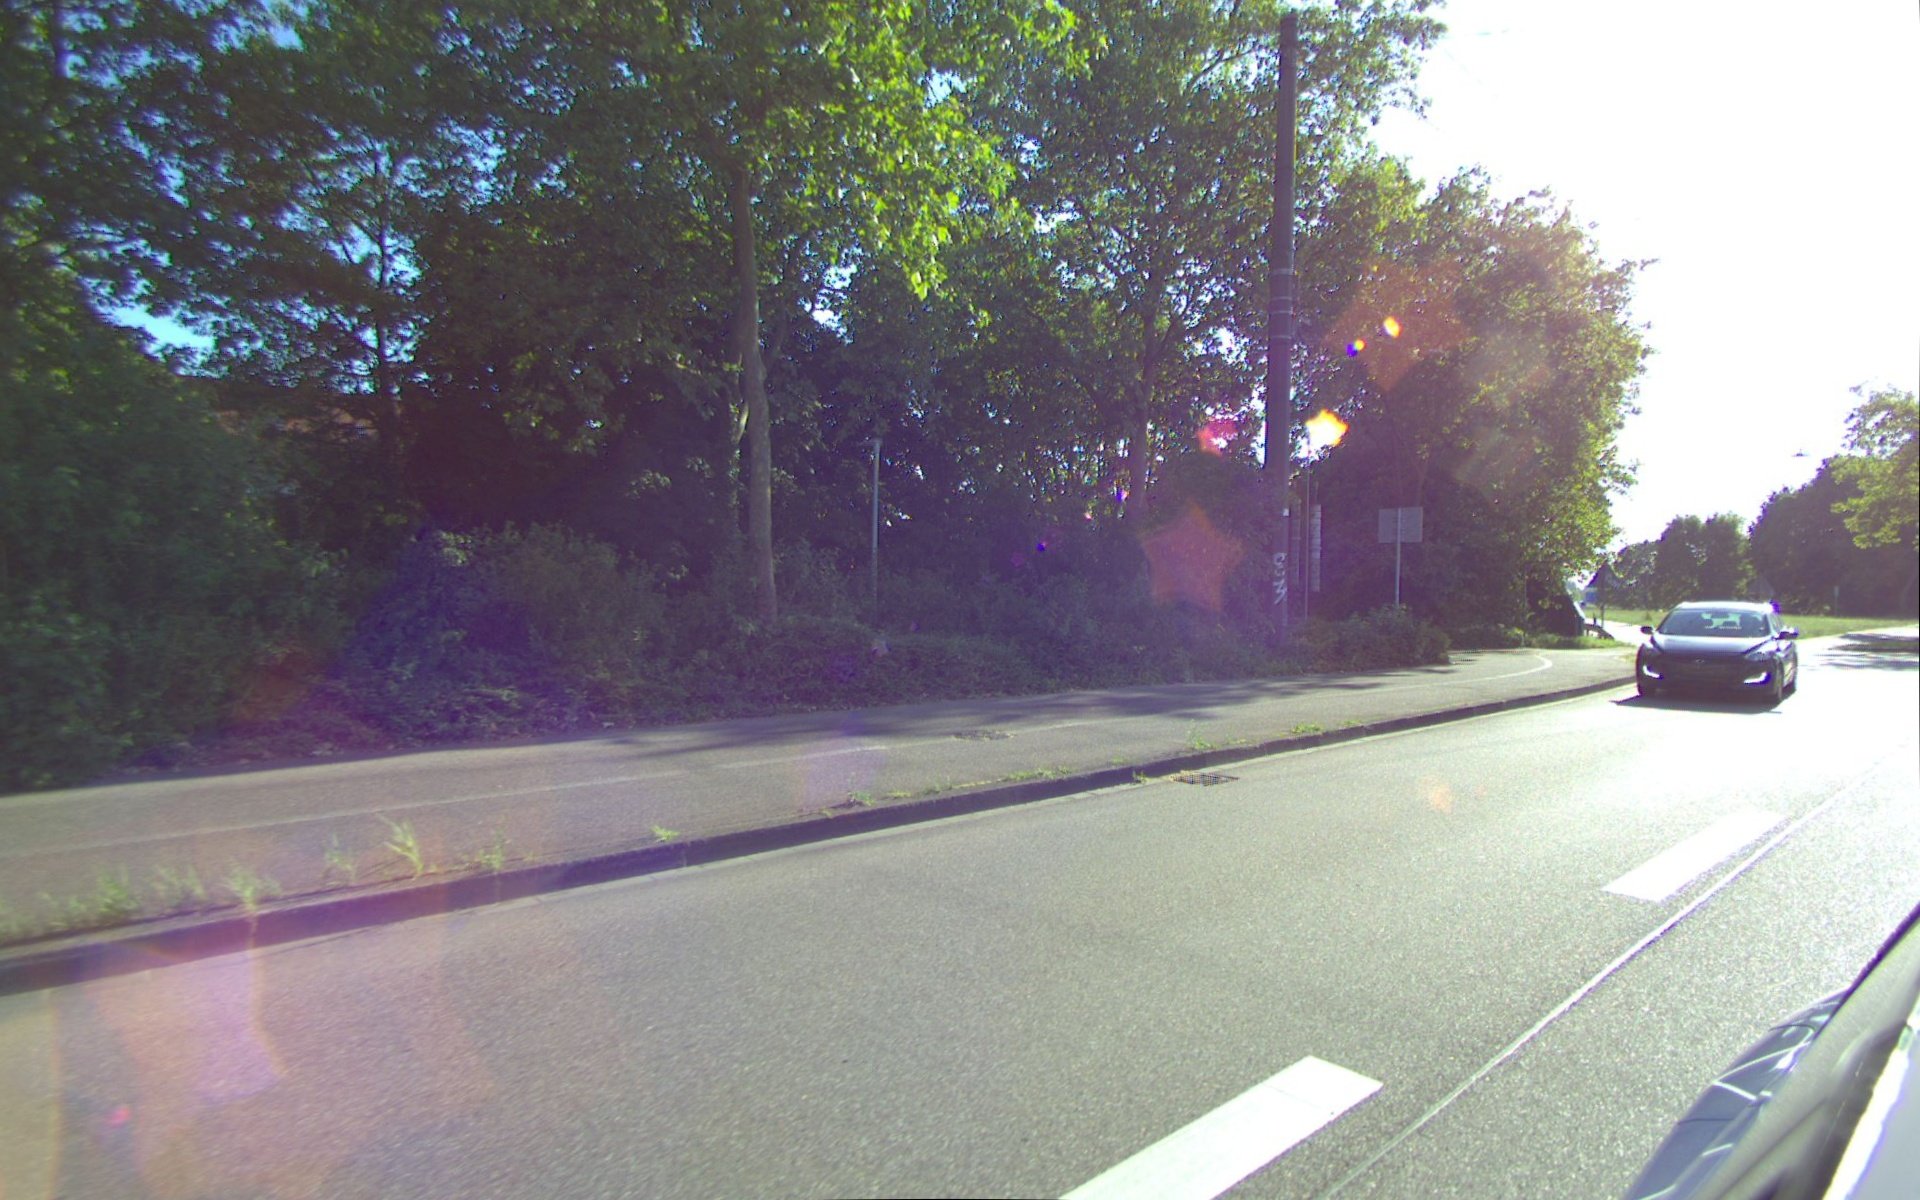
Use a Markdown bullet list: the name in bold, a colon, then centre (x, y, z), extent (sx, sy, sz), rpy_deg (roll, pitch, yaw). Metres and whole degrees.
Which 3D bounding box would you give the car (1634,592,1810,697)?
- **car**: centre (12.328, 0.612, 16.277), extent (1.793, 1.458, 4.157), rpy_deg (0, 0, 44)
